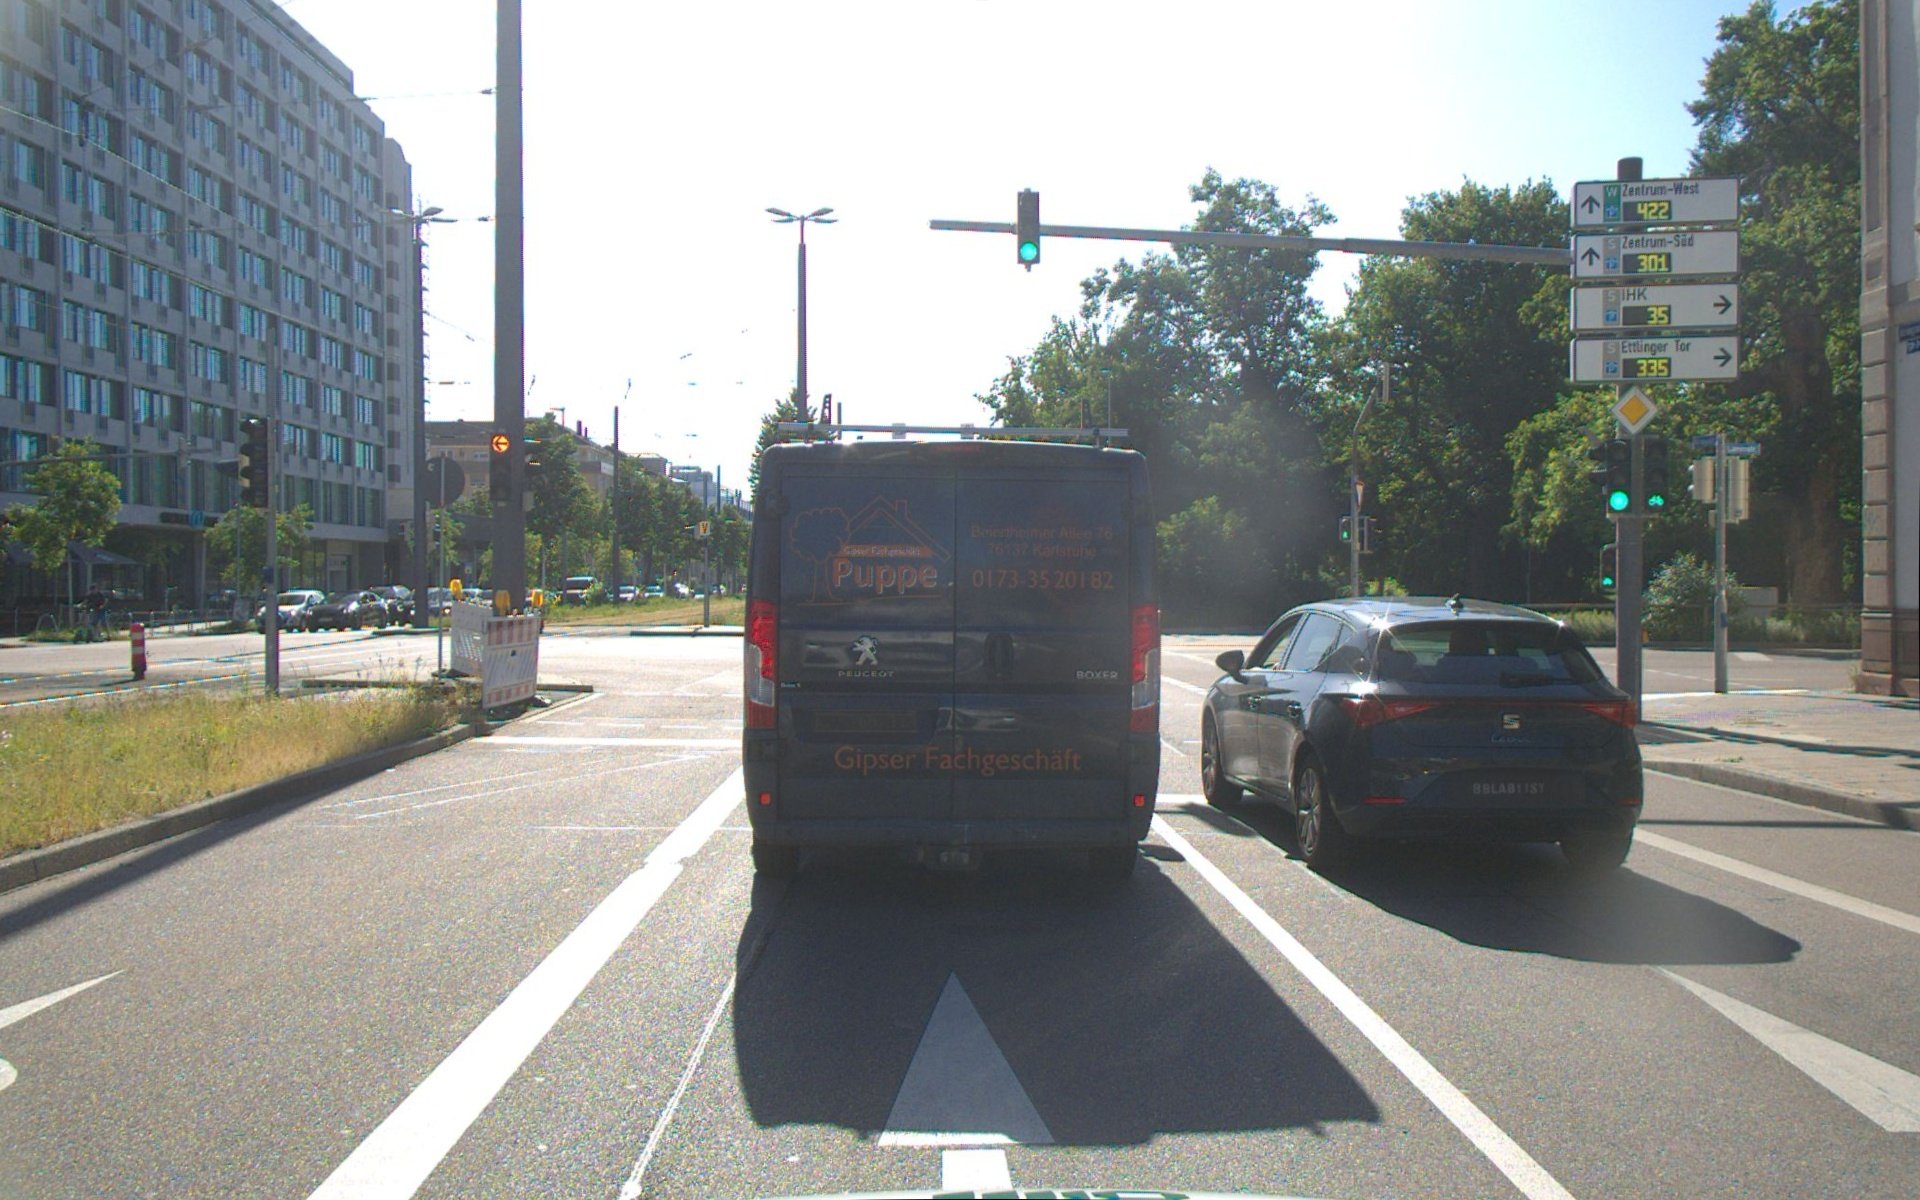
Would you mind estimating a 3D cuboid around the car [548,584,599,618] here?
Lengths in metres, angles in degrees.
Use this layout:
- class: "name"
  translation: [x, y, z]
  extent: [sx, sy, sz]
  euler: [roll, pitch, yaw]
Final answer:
- class: "car"
  translation: [-20.012, 0.024, 85.754]
  extent: [1.754, 1.680, 4.000]
  euler: [-1, 1, -1]

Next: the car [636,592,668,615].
- class: "car"
  translation: [-24.320, 0.261, 130.683]
  extent: [1.754, 1.680, 4.000]
  euler: [-1, 1, -1]

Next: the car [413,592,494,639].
- class: "car"
  translation: [-19.030, 0.559, 62.293]
  extent: [1.754, 1.680, 4.334]
  euler: [-1, 1, -1]

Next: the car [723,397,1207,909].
- class: "car"
  translation: [-0.057, 0.209, 9.791]
  extent: [2.173, 2.307, 4.482]
  euler: [1, 1, -2]

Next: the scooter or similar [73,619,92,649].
- class: "scooter or similar"
  translation: [-28.816, 1.107, 54.307]
  extent: [0.280, 0.964, 0.766]
  euler: [-1, 0, -8]

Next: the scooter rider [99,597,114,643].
- class: "scooter rider"
  translation: [-27.725, 0.639, 53.731]
  extent: [0.335, 1.478, 0.239]
  euler: [-1, 0, -1]

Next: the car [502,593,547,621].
- class: "car"
  translation: [-26.728, 0.411, 101.608]
  extent: [1.754, 1.680, 4.000]
  euler: [-1, 1, -1]

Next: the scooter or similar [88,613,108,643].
- class: "scooter or similar"
  translation: [-27.937, 0.911, 53.598]
  extent: [0.224, 0.964, 0.767]
  euler: [-1, 0, -1]

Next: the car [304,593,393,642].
- class: "car"
  translation: [-22.161, 0.623, 60.113]
  extent: [1.754, 1.680, 4.000]
  euler: [-1, 1, -1]

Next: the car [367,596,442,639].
- class: "car"
  translation: [-22.895, 0.687, 68.253]
  extent: [1.754, 1.680, 4.000]
  euler: [-1, 1, -1]

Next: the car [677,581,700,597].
- class: "car"
  translation: [-28.353, -1.148, 172.960]
  extent: [1.754, 1.680, 4.000]
  euler: [0, 1, -1]

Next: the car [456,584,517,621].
- class: "car"
  translation: [-22.274, 0.084, 77.936]
  extent: [1.754, 1.680, 4.000]
  euler: [-1, 1, -1]

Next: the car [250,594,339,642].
- class: "car"
  translation: [-25.090, 0.648, 62.469]
  extent: [1.754, 1.680, 4.000]
  euler: [-1, 1, -1]

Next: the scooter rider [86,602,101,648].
- class: "scooter rider"
  translation: [-28.542, 0.820, 54.493]
  extent: [0.335, 1.478, 0.239]
  euler: [-1, 0, -1]

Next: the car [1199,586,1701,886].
- class: "car"
  translation: [2.695, 0.664, 10.057]
  extent: [1.756, 1.453, 3.848]
  euler: [1, 0, -3]

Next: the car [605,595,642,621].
- class: "car"
  translation: [-22.869, 0.506, 112.464]
  extent: [1.754, 1.680, 4.000]
  euler: [-1, 1, -1]
